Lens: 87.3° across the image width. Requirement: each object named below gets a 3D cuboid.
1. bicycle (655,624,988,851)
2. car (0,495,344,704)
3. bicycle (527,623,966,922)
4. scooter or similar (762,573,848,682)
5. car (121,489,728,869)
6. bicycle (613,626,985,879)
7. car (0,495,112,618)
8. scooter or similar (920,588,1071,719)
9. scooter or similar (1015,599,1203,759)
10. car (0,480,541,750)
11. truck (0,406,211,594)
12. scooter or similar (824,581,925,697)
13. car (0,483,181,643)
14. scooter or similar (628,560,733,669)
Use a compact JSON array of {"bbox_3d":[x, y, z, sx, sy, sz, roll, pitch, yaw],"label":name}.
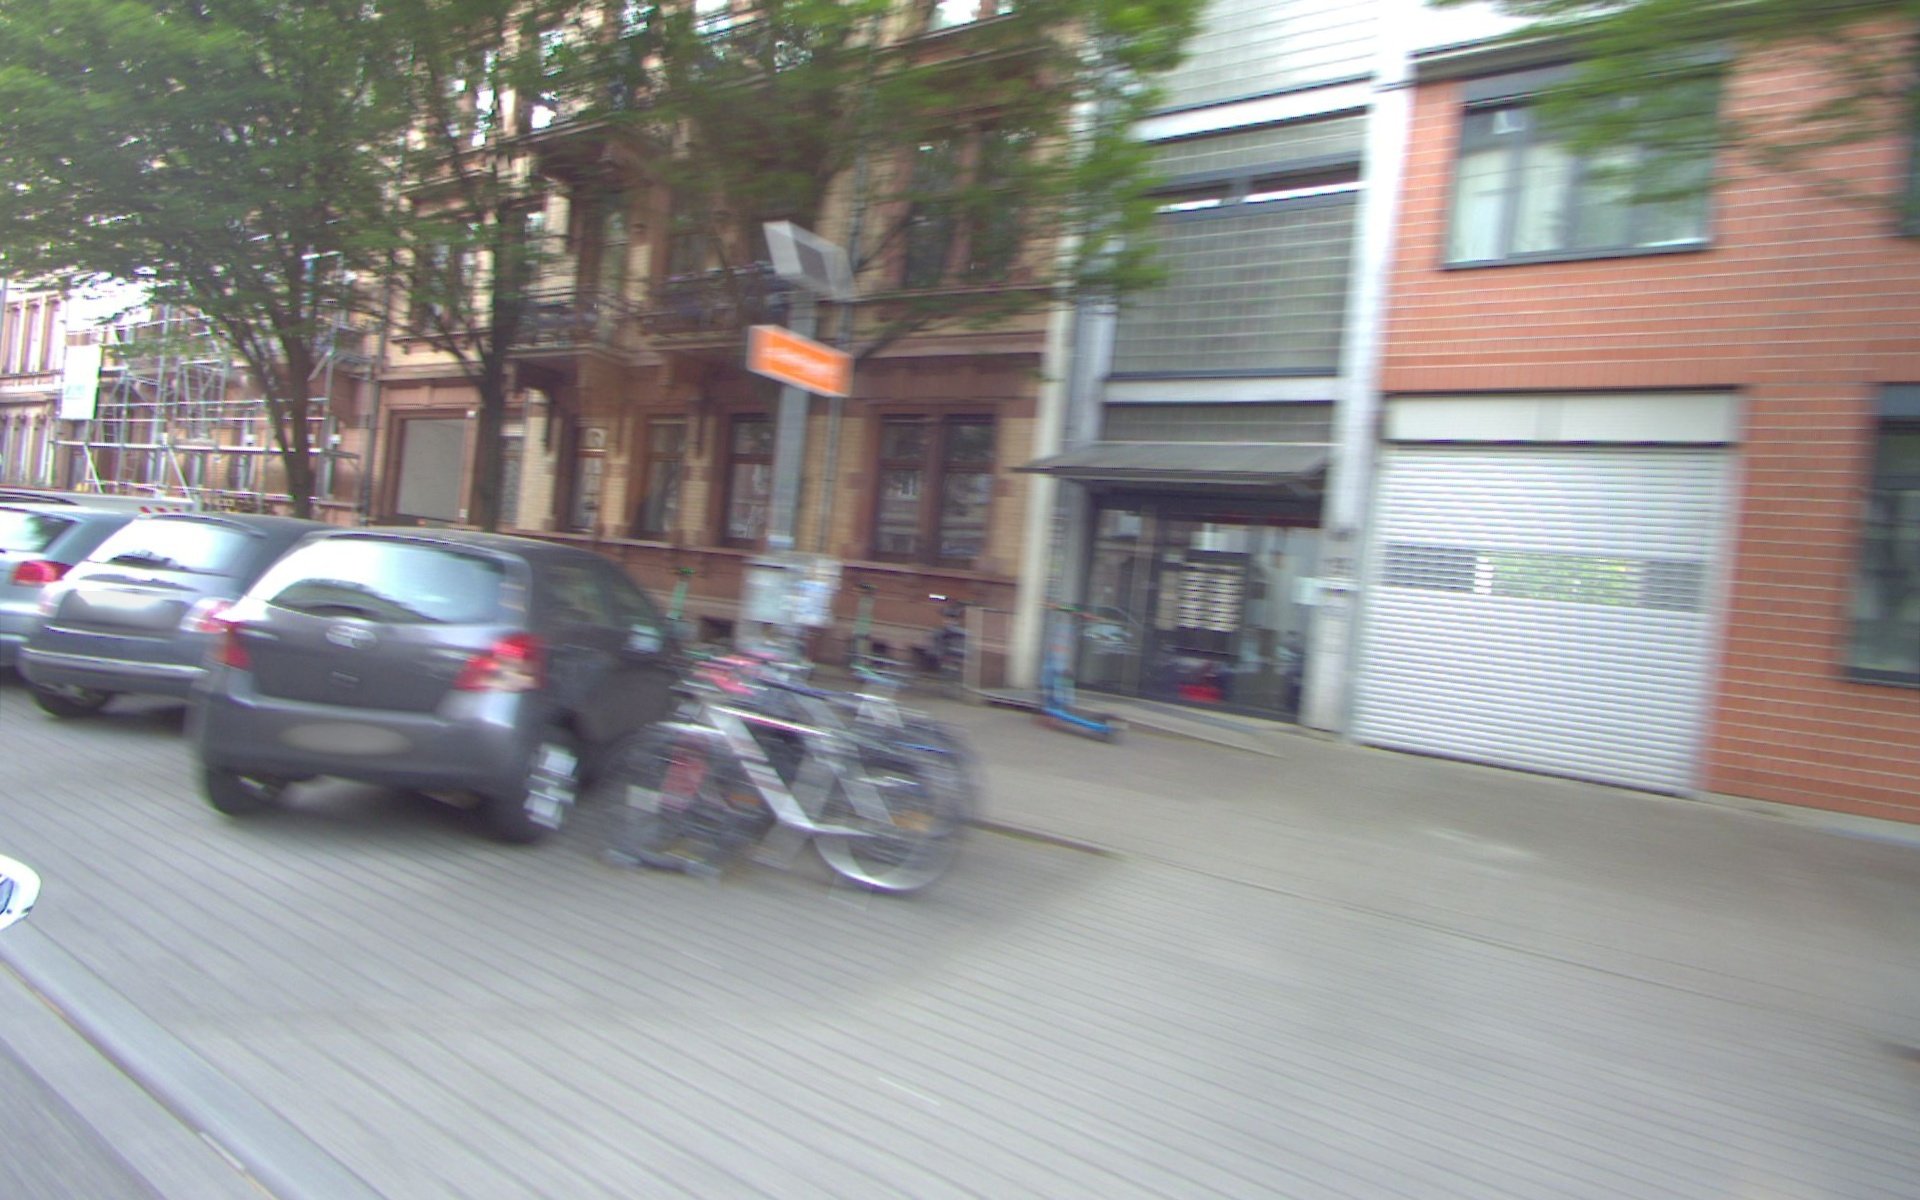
[{"bbox_3d":[-0.794,0.791,6.053,1.822,1.121,0.559,5,0,3],"label":"bicycle"},{"bbox_3d":[-7.654,-0.101,9.156,1.730,1.455,3.834,7,1,-2],"label":"car"},{"bbox_3d":[-0.943,0.757,4.746,1.822,1.121,0.694,5,0,3],"label":"bicycle"},{"bbox_3d":[-1.990,0.316,12.757,0.366,1.234,1.605,2,3,-34],"label":"scooter or similar"},{"bbox_3d":[-2.804,0.330,6.202,1.741,1.493,3.405,7,1,1],"label":"car"},{"bbox_3d":[-0.827,0.785,5.444,1.822,1.121,0.559,5,0,3],"label":"bicycle"},{"bbox_3d":[-12.424,-0.628,11.896,1.581,1.482,3.561,7,-1,1],"label":"car"},{"bbox_3d":[0.354,0.552,11.084,1.752,1.234,0.410,6,3,44],"label":"scooter or similar"},{"bbox_3d":[1.342,0.681,9.387,1.752,1.236,0.465,6,7,44],"label":"scooter or similar"},{"bbox_3d":[-5.328,0.077,8.246,1.729,1.550,3.837,6,1,7],"label":"car"},{"bbox_3d":[-17.826,-1.937,18.178,2.228,3.010,6.327,3,-3,33],"label":"truck"},{"bbox_3d":[-1.063,0.434,12.149,0.366,1.234,1.688,2,3,-34],"label":"scooter or similar"},{"bbox_3d":[-10.148,-0.447,10.246,1.609,1.548,3.890,7,-1,-7],"label":"car"},{"bbox_3d":[-3.632,0.162,13.055,1.328,1.261,0.511,7,7,31],"label":"scooter or similar"}]
